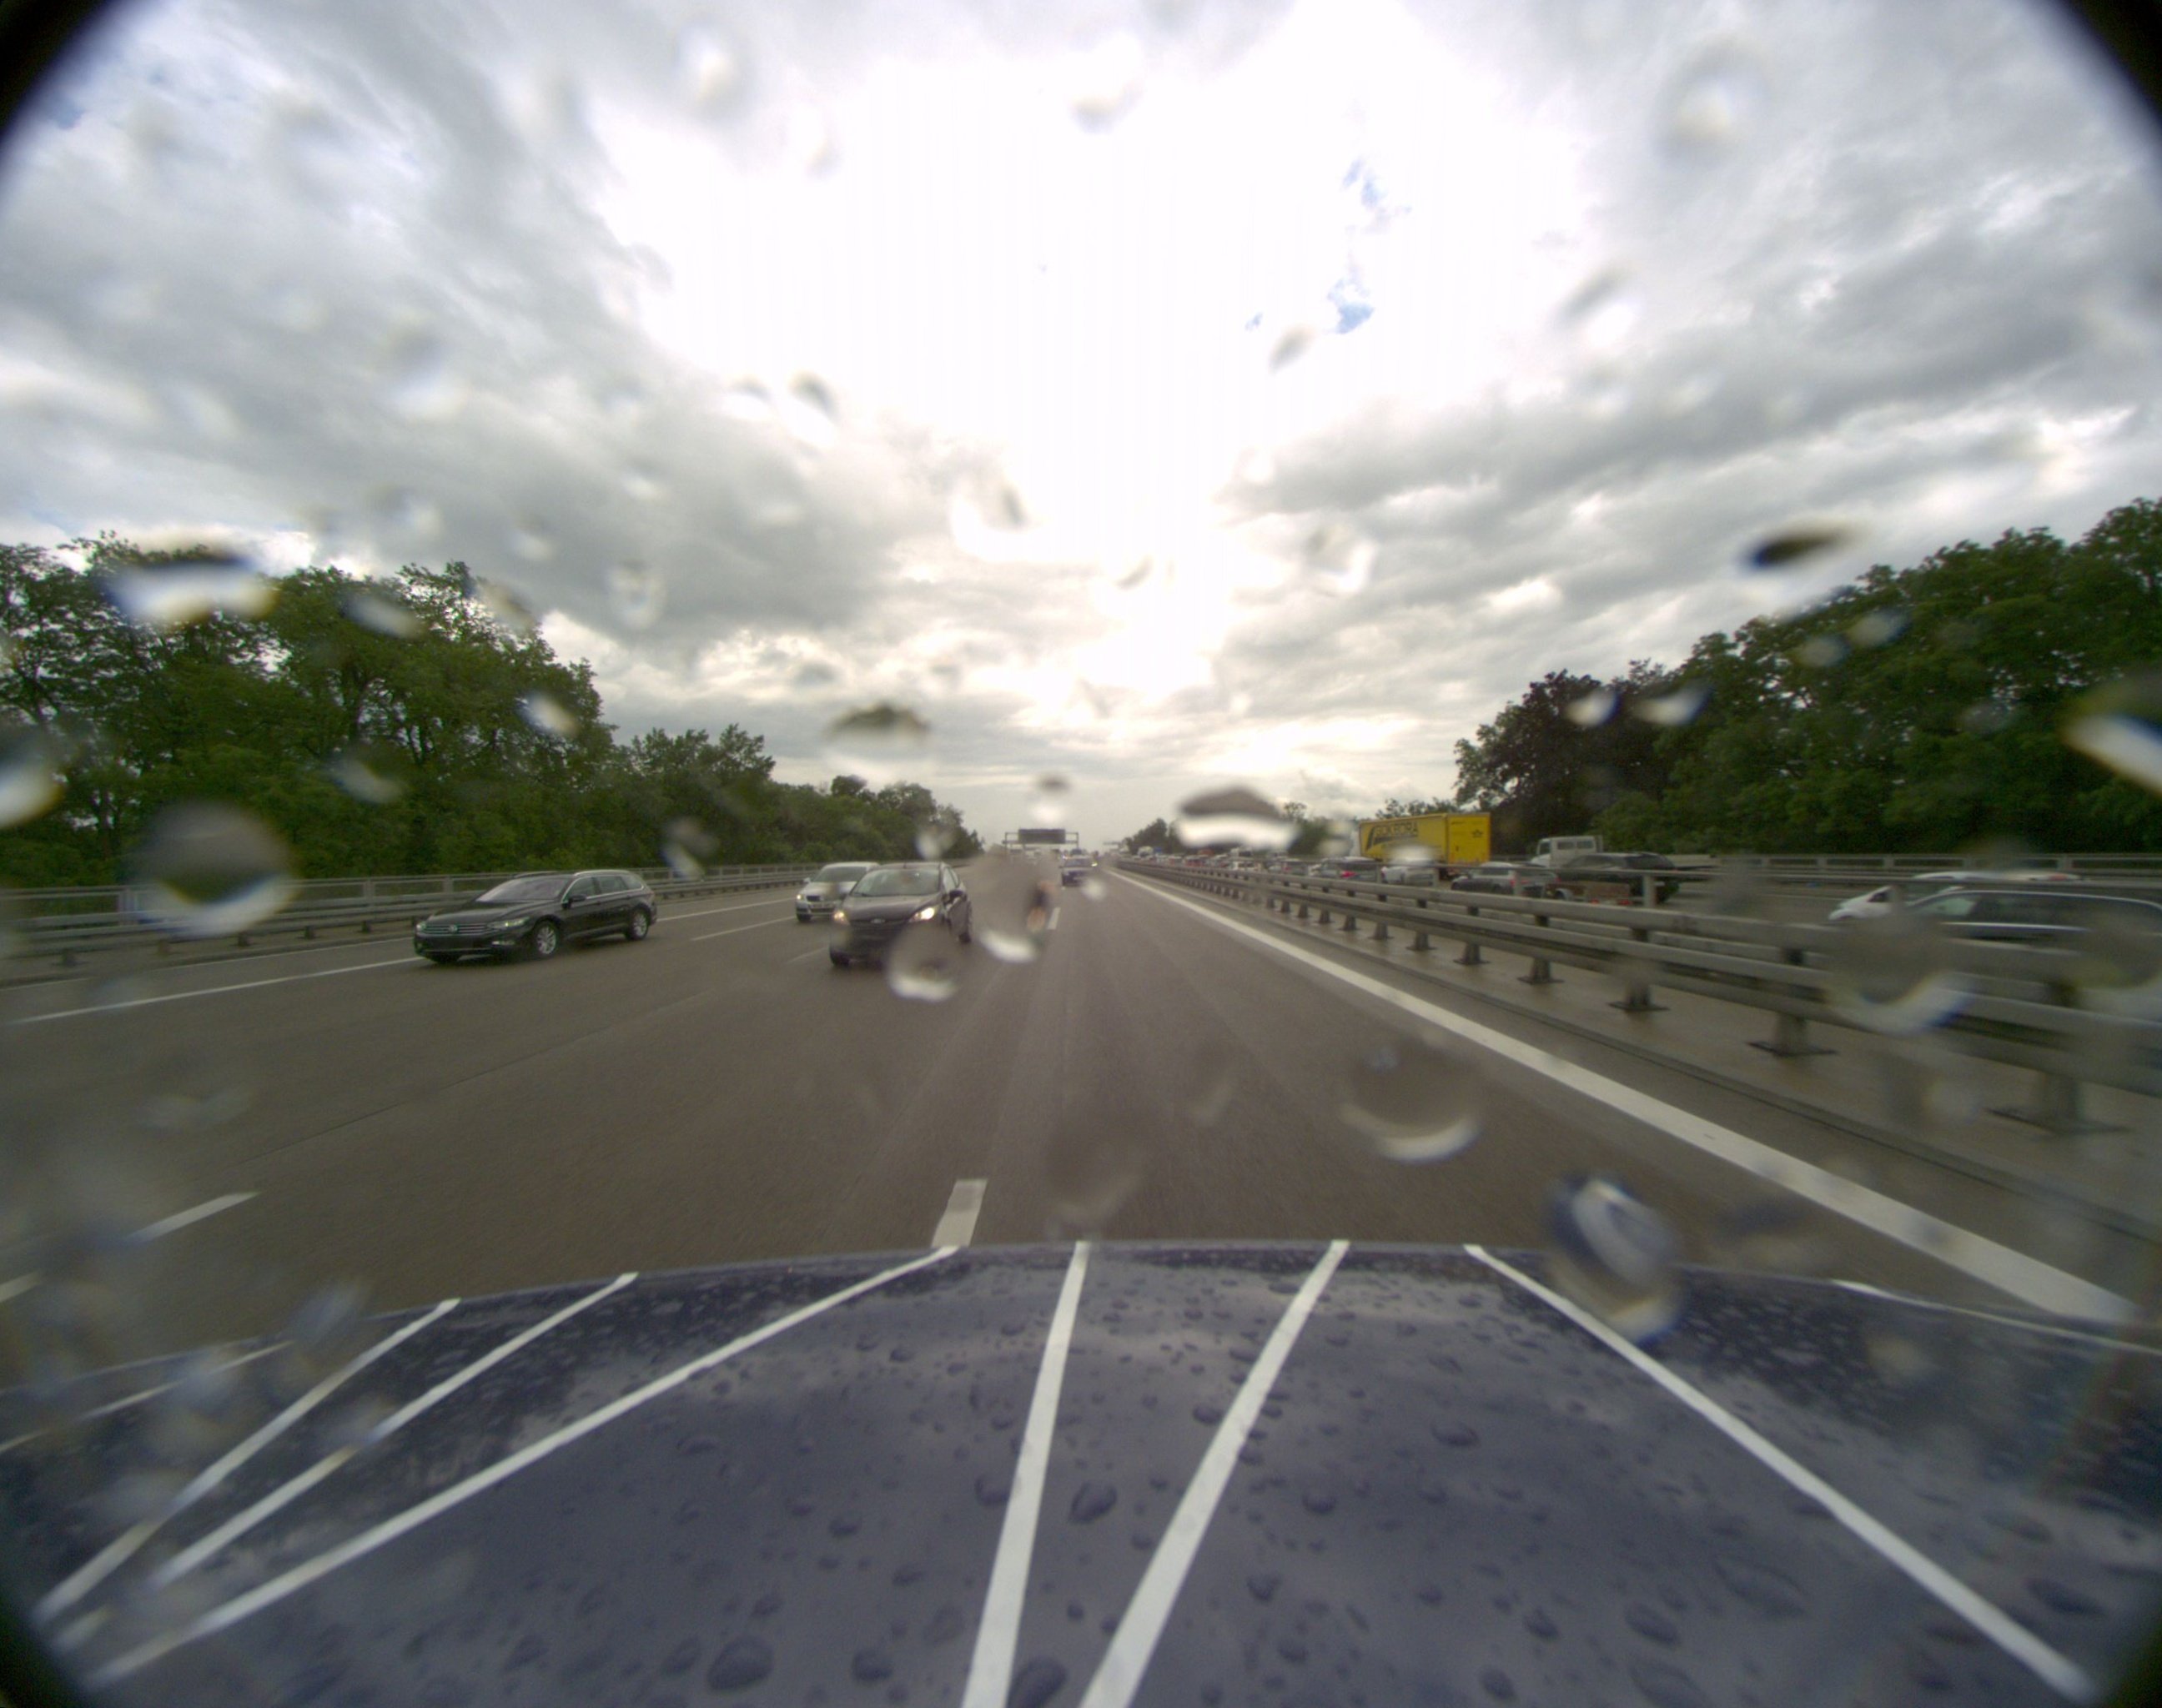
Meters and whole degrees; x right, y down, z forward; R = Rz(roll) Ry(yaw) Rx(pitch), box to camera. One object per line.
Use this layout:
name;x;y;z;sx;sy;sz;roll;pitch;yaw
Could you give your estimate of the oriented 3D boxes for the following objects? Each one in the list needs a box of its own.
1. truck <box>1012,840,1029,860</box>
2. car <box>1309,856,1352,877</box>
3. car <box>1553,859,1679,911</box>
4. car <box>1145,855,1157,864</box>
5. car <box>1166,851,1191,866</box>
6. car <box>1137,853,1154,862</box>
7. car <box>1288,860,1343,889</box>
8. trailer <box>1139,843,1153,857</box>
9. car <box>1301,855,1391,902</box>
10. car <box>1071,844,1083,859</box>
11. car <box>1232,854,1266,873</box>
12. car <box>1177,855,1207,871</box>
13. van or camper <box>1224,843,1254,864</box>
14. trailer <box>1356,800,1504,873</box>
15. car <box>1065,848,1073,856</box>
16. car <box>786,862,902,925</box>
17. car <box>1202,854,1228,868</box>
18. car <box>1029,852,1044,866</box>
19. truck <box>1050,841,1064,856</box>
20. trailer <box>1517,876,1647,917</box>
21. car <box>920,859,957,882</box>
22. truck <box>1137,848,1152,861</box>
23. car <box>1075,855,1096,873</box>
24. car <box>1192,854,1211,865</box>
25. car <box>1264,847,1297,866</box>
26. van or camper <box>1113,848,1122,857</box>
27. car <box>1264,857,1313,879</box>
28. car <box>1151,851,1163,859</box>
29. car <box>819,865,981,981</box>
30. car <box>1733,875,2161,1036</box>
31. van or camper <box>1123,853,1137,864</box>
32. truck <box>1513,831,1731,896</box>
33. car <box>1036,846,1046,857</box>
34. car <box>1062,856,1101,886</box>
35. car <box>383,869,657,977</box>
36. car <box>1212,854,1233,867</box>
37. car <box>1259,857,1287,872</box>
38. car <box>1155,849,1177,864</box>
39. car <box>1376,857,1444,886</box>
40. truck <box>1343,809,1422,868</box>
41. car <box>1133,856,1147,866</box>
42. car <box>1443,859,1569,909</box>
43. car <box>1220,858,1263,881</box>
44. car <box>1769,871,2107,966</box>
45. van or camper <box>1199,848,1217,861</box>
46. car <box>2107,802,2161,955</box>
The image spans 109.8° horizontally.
truck;-12.594;-0.819;158.261;3.255;3.884;12.309;-2;0;-4
car;18.280;0.901;55.908;1.827;1.429;4.052;-1;0;0
car;18.344;1.005;26.299;1.537;1.586;3.999;-1;0;0
car;13.379;1.002;144.647;1.681;1.626;4.000;0;-1;-3
car;10.788;0.500;84.454;1.872;1.660;5.172;-1;0;-3
car;9.960;0.569;117.242;1.879;1.384;5.363;-1;0;-3
car;13.805;1.174;44.938;1.752;1.567;4.417;-1;0;-2
trailer;18.381;-1.032;215.181;2.468;3.934;13.216;-1;0;-2
car;11.101;0.956;32.263;1.918;1.756;5.330;-1;0;-1
car;-0.744;-0.435;132.334;1.999;2.354;4.171;-2;0;-1
car;15.153;0.818;68.723;1.784;1.602;4.576;-1;0;-3
car;10.573;0.802;72.707;2.000;1.454;4.840;-1;0;-3
van or camper;21.419;-0.112;103.173;2.208;2.749;7.229;-1;0;-3
trailer;22.905;-1.066;51.367;3.256;4.203;14.507;-1;0;0
car;-3.061;-0.483;197.823;1.999;2.002;3.507;-2;0;-1
car;-6.262;0.978;20.588;1.898;1.438;4.245;-1;0;-2
car;14.485;0.726;82.334;1.821;1.417;4.475;-1;0;-3
car;-6.002;0.609;102.920;1.962;1.831;3.999;-1;0;-2
truck;-6.459;-1.434;204.633;2.958;3.777;12.322;-2;0;-5
trailer;15.162;1.258;23.199;1.729;1.032;3.340;-1;0;-2
car;-9.656;1.083;51.875;1.782;1.438;4.587;-1;0;-2
truck;13.029;0.180;156.809;2.152;2.587;8.754;-1;0;-2
car;0.390;0.835;65.667;1.751;1.489;4.014;-1;1;0
car;17.370;0.774;109.846;1.883;1.503;3.999;-1;0;-2
car;22.307;0.255;85.048;1.999;2.002;5.410;-1;0;-3
van or camper;10.814;-0.315;226.431;2.039;2.589;7.456;-1;0;-2
car;14.726;0.971;54.120;1.814;1.471;5.218;-1;0;-3
car;16.586;0.124;165.648;1.999;1.698;3.999;-1;0;-2
car;-2.748;0.968;12.518;1.668;1.431;4.404;-1;1;-1
car;11.338;1.039;9.291;2.020;1.379;5.458;-1;0;0
van or camper;9.363;0.845;146.416;1.989;2.056;5.641;-1;0;-3
truck;22.491;0.340;32.529;2.687;2.357;9.273;-1;0;0
car;-9.225;-0.532;174.132;2.037;2.587;4.513;0;0;-1
car;-0.045;0.803;39.023;1.782;1.399;5.015;-1;0;-2
car;-9.816;1.092;13.827;1.820;1.534;4.357;-1;0;-2
car;18.264;0.778;98.135;1.732;1.603;4.461;-1;0;-3
car;17.891;0.986;71.027;1.451;1.293;3.998;-1;0;-3
car;10.796;0.280;96.413;1.871;1.816;5.707;-1;0;-3
car;18.154;0.922;42.178;1.752;1.470;4.417;-1;0;-2
truck;22.863;-1.100;58.031;3.256;4.225;6.881;-1;0;0
car;10.015;1.200;129.367;1.830;1.665;5.357;-1;0;-2
car;15.024;1.009;27.219;1.752;1.567;4.688;-1;0;-2
car;10.796;1.020;51.376;1.767;1.375;4.819;-1;0;-2
car;15.393;1.071;14.054;1.606;1.379;4.099;-1;0;0
van or camper;22.254;0.067;132.982;1.945;2.291;6.233;-1;0;-2
car;18.685;0.401;9.635;2.161;2.490;6.771;-1;0;0
